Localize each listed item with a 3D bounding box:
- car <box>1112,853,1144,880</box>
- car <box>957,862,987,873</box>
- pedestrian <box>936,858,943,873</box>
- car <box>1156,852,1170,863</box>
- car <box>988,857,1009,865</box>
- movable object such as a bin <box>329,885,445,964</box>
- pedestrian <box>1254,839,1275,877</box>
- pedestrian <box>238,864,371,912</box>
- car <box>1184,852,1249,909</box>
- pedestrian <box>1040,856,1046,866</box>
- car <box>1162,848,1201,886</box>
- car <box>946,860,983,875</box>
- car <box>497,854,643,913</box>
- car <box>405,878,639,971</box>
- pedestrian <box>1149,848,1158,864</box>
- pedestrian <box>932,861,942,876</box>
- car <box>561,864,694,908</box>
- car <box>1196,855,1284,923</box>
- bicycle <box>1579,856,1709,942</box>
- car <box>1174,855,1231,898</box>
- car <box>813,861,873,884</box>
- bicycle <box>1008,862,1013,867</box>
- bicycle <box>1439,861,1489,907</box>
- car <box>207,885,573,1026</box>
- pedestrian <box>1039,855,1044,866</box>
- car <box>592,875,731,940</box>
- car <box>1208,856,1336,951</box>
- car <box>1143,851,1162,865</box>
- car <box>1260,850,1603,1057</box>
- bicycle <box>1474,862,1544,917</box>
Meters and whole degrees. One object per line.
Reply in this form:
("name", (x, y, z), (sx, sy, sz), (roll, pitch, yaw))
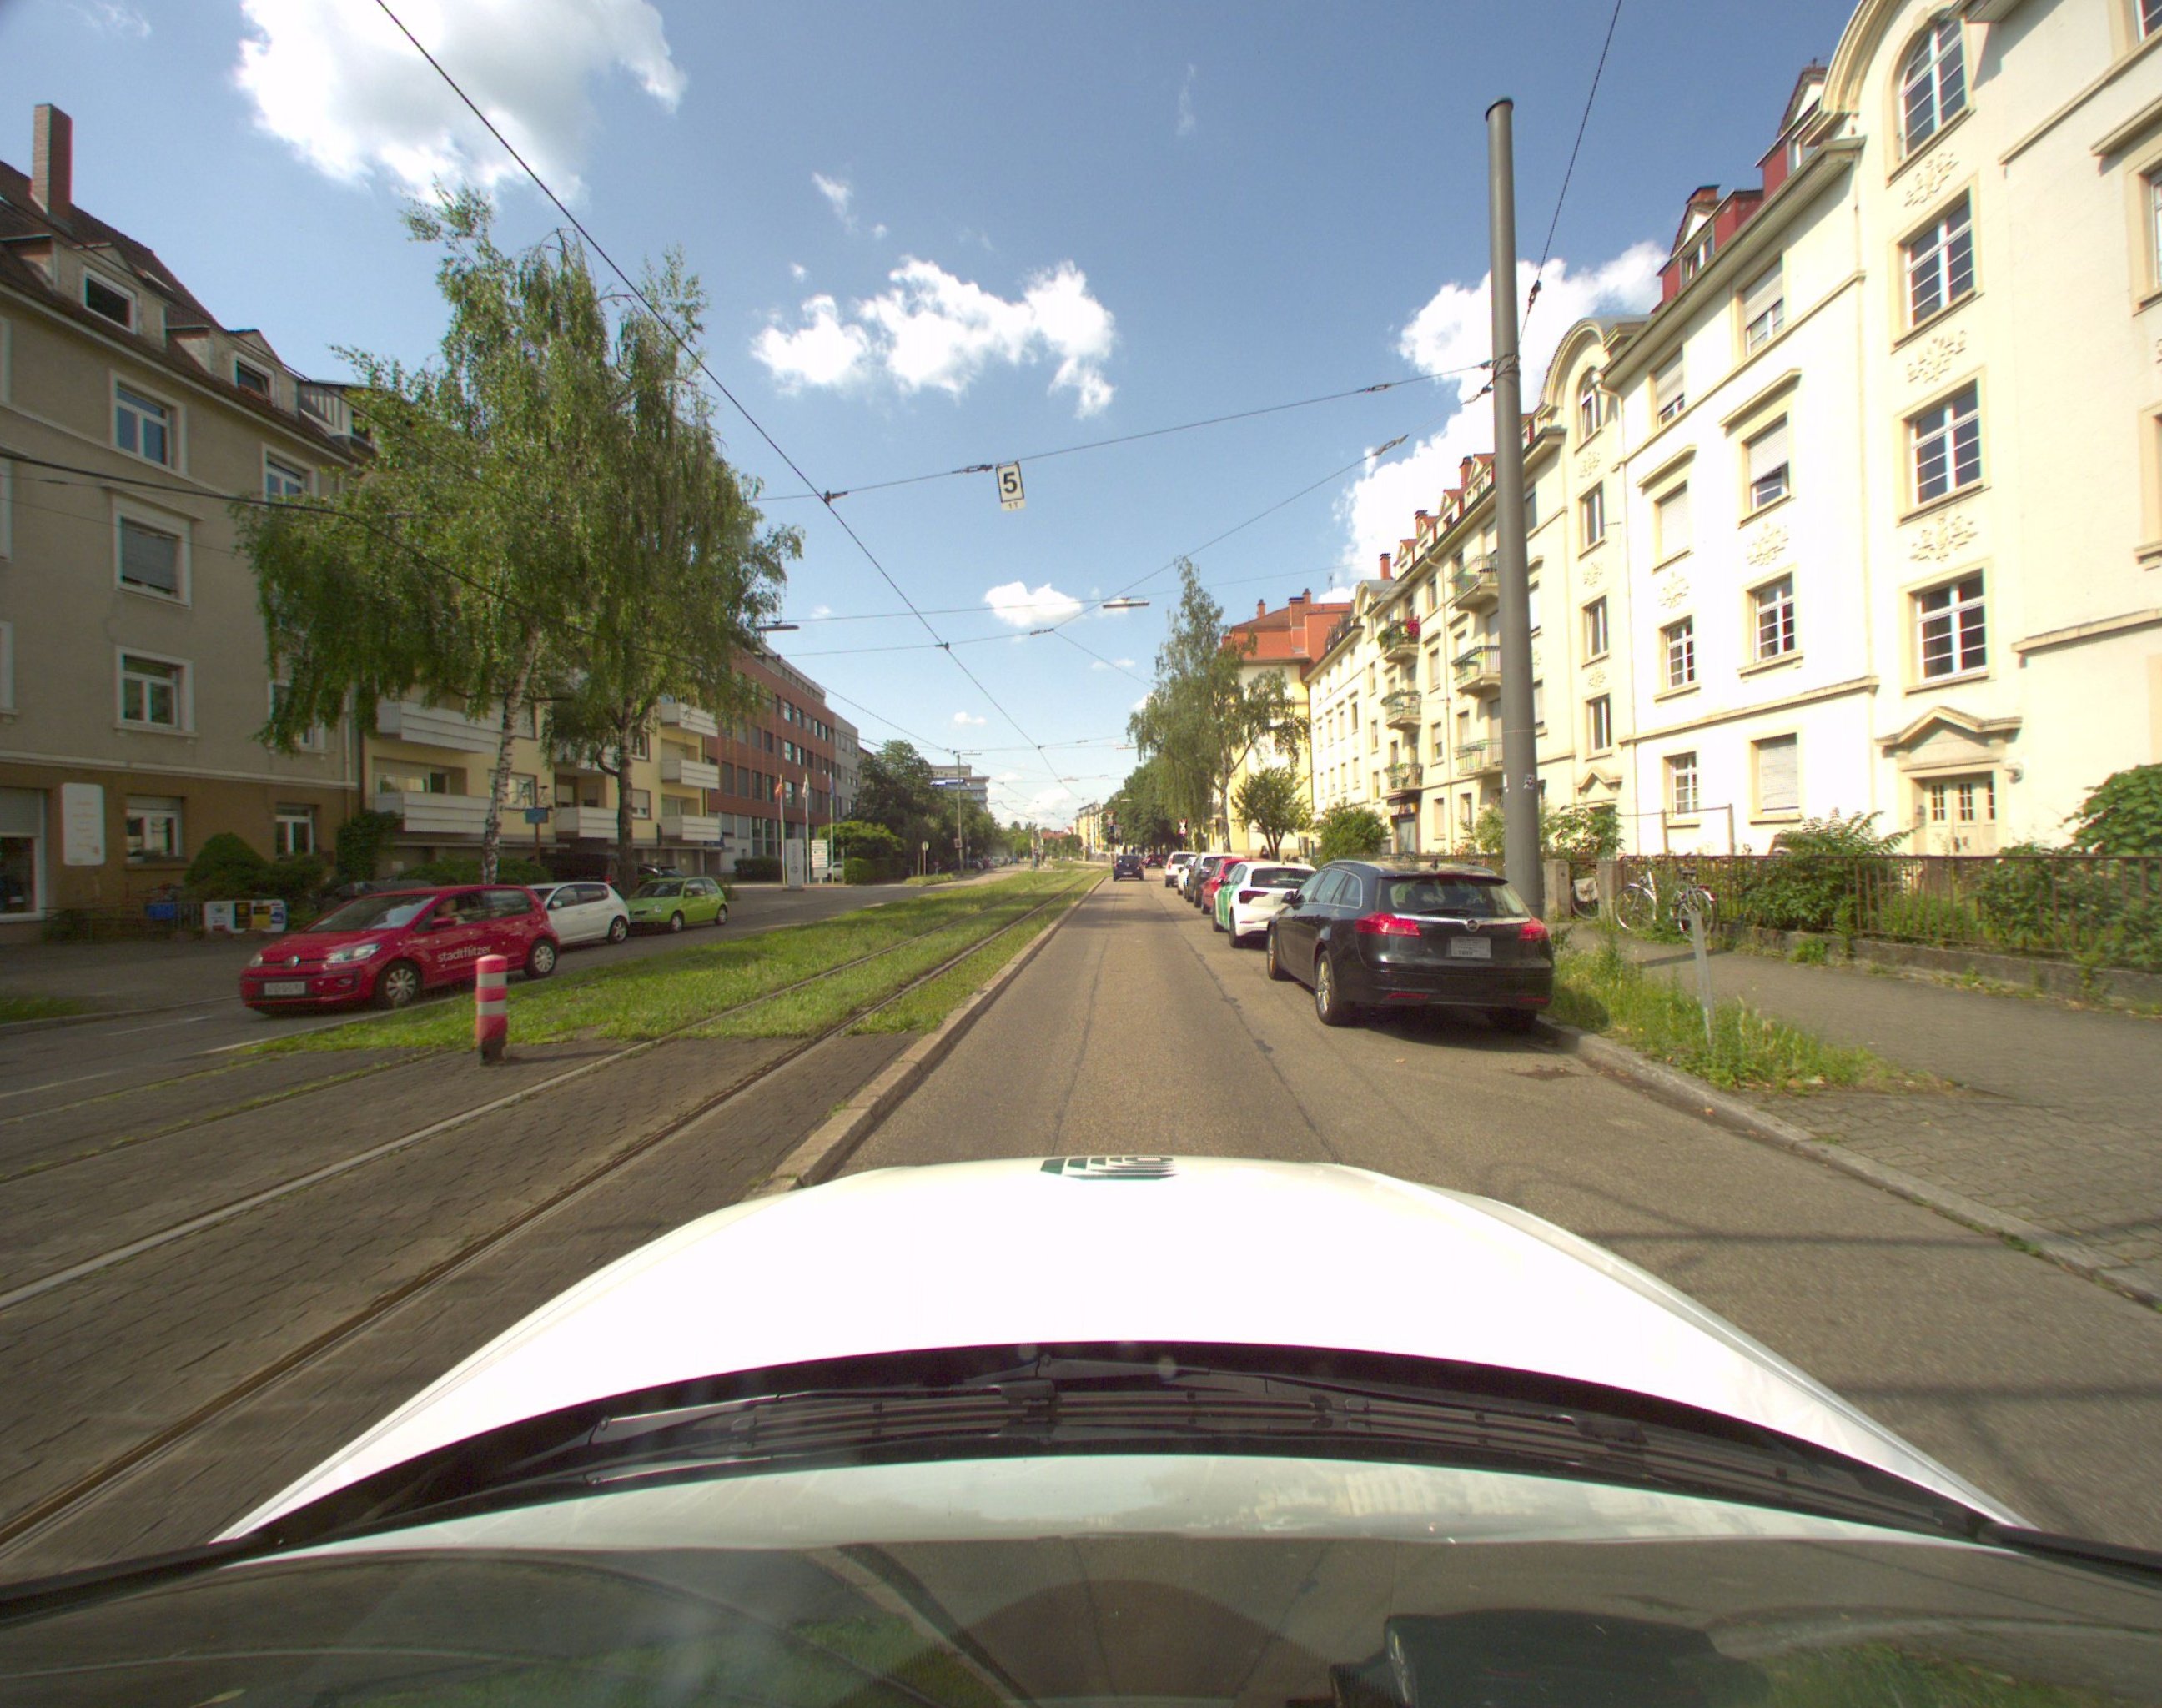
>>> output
("car", (2.767, 0.695, 47.468), (1.760, 1.462, 3.780), (-1, 0, 5))
("car", (-13.718, 1.727, 102.607), (3.407, 1.236, 1.526), (-2, 0, -42))
("pedestrian", (-15.389, 1.251, 88.486), (0.554, 1.657, 0.748), (-2, -1, 6))
("car", (11.839, 0.531, 117.645), (1.853, 1.445, 4.003), (-3, 0, 3))
("car", (-16.954, 1.380, 166.866), (4.019, 1.447, 1.709), (-2, 0, -37))
("movable object such as a bin", (-13.707, 1.361, 16.144), (0.947, 1.430, 1.523), (0, 0, 3))
("pedestrian", (8.254, 0.175, 36.661), (0.726, 1.683, 0.692), (-4, 0, 7))
("pedestrian", (-20.511, 0.881, 21.548), (2.500, 1.129, 1.132), (-2, 0, 4))
("car", (4.020, 0.738, 24.612), (1.487, 1.579, 3.761), (0, 0, 2))
("pedestrian", (-5.774, 1.032, 123.288), (0.648, 1.426, 0.567), (-3, -1, 34))
("car", (4.648, 0.583, 37.882), (1.712, 1.629, 4.007), (1, 0, 6))
("car", (-13.838, 1.563, 96.956), (4.155, 1.640, 1.705), (-2, 0, -42))
("car", (-17.906, 0.995, 28.632), (3.966, 2.013, 1.941), (0, 0, 6))
("car", (-11.246, 1.343, 16.808), (1.637, 1.477, 4.230), (-3, 0, 4))
("pedestrian", (8.008, 0.255, 90.070), (0.868, 1.775, 1.003), (-1, -1, -2))
("pedestrian", (-15.193, 1.532, 85.838), (0.741, 1.574, 0.891), (-2, -2, 6))
("car", (-17.192, 1.196, 31.014), (3.970, 1.602, 1.975), (0, 0, 3))
("car", (3.789, 0.777, 19.930), (1.582, 1.452, 3.848), (2, 0, 3))
("bicycle", (7.915, 0.581, 11.579), (0.469, 1.077, 2.186), (-2, 0, 5))
("car", (4.338, 0.763, 29.621), (1.666, 1.417, 3.798), (1, 0, 3))
("car", (-18.195, 1.375, 62.336), (3.974, 1.596, 2.000), (-2, 0, 0))
("bicycle", (-13.109, 1.915, 151.764), (0.678, 0.971, 2.179), (-3, 0, 1))
("bicycle", (8.281, 0.628, 17.643), (0.386, 0.938, 1.587), (-2, 0, 3))
("car", (-8.934, 1.209, 11.002), (1.572, 1.387, 3.697), (-3, 0, 4))
("pedestrian", (-5.941, 0.984, 122.829), (0.601, 1.766, 0.640), (-2, 0, 7))
("car", (-11.122, 1.376, 21.895), (1.587, 1.432, 3.619), (-3, 0, 4))
("car", (3.334, 0.787, 14.882), (1.612, 1.452, 3.922), (2, 0, 3))
("car", (7.282, 0.428, 82.997), (1.693, 1.368, 3.516), (0, 0, 2))
("car", (3.124, 0.743, 8.380), (1.784, 1.520, 4.530), (1, 0, 3))
("bicycle", (8.199, 0.652, 15.690), (0.376, 0.943, 2.011), (-2, 0, 3))
